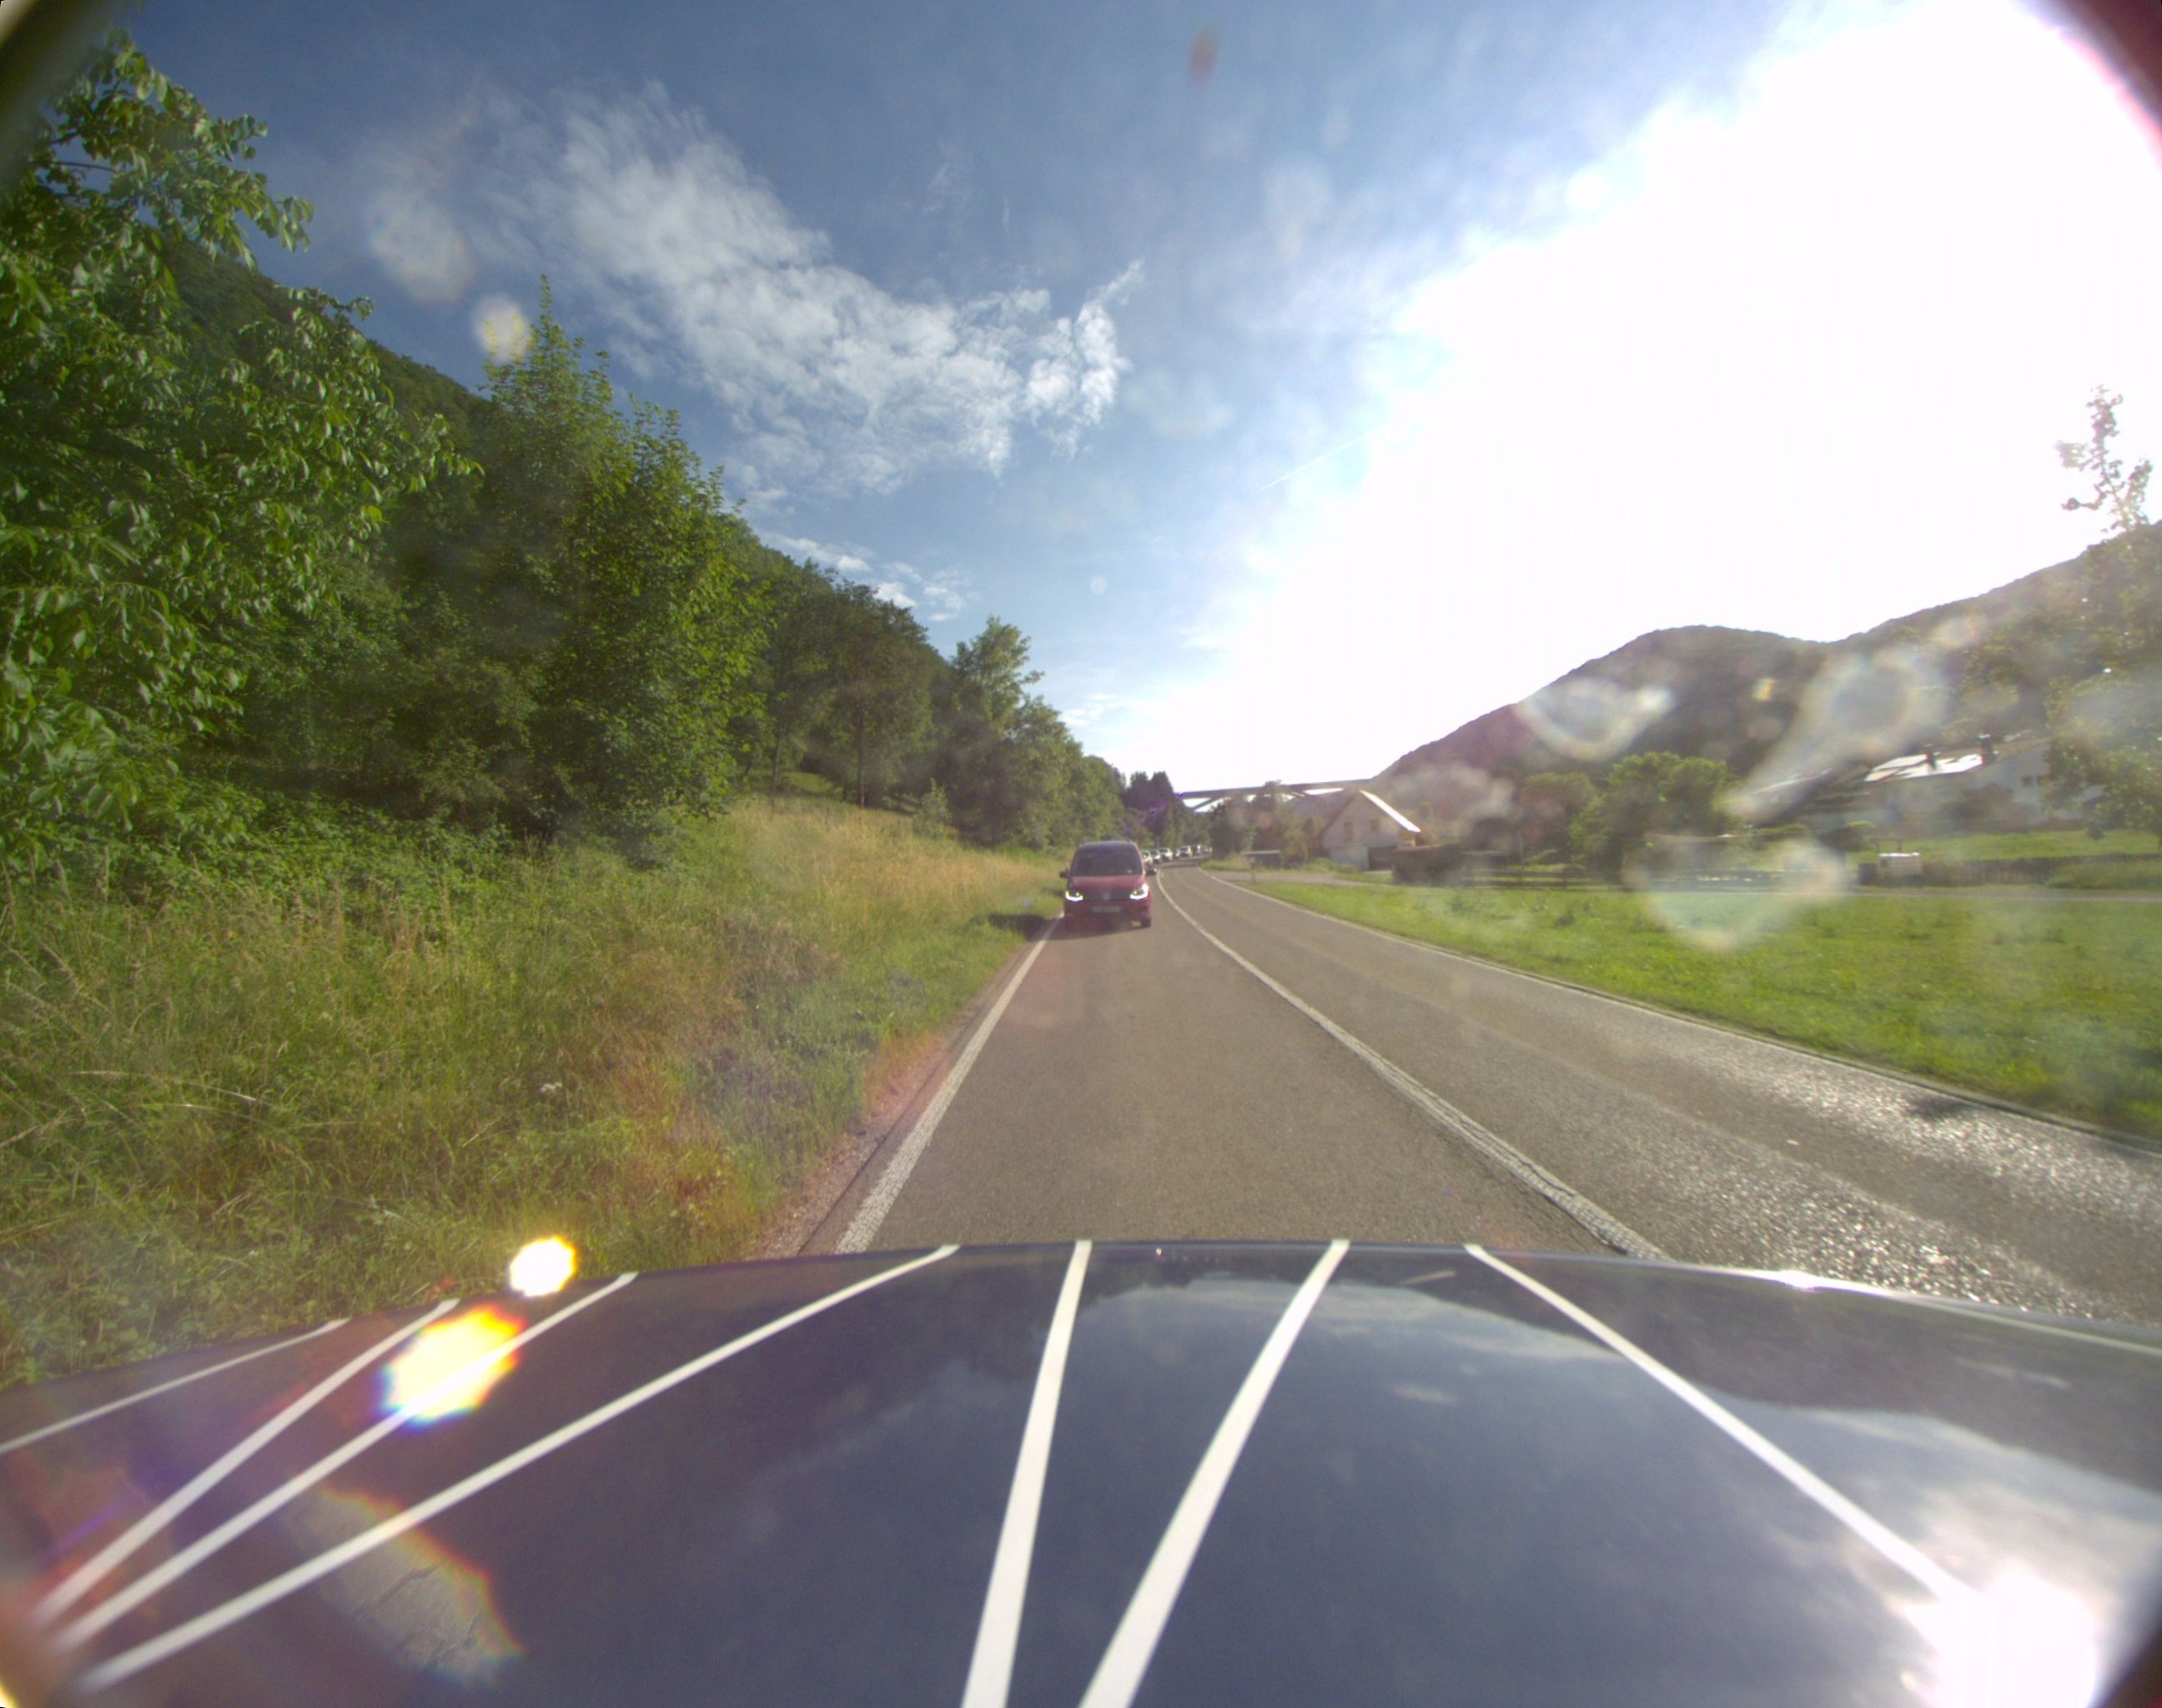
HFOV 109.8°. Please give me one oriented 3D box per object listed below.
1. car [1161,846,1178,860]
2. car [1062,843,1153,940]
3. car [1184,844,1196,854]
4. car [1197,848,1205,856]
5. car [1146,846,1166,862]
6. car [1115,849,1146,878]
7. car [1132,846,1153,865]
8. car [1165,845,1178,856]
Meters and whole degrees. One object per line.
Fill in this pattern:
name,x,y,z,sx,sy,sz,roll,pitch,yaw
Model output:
car,10.250,-0.135,87.922,1.630,1.470,3.679,-2,1,2
car,0.554,0.683,16.244,1.649,1.762,4.000,-2,1,1
car,16.932,-0.855,118.236,1.629,1.470,3.680,-2,1,4
car,23.355,-0.332,147.950,1.629,1.470,3.681,-2,1,9
car,7.326,-0.014,74.518,1.630,1.470,3.679,-2,1,2
car,2.851,0.496,43.369,1.629,1.470,3.680,-2,1,5
car,5.281,0.138,65.146,1.629,1.470,3.680,-2,1,5
car,12.286,-0.487,102.946,1.629,1.470,3.681,-2,1,9
